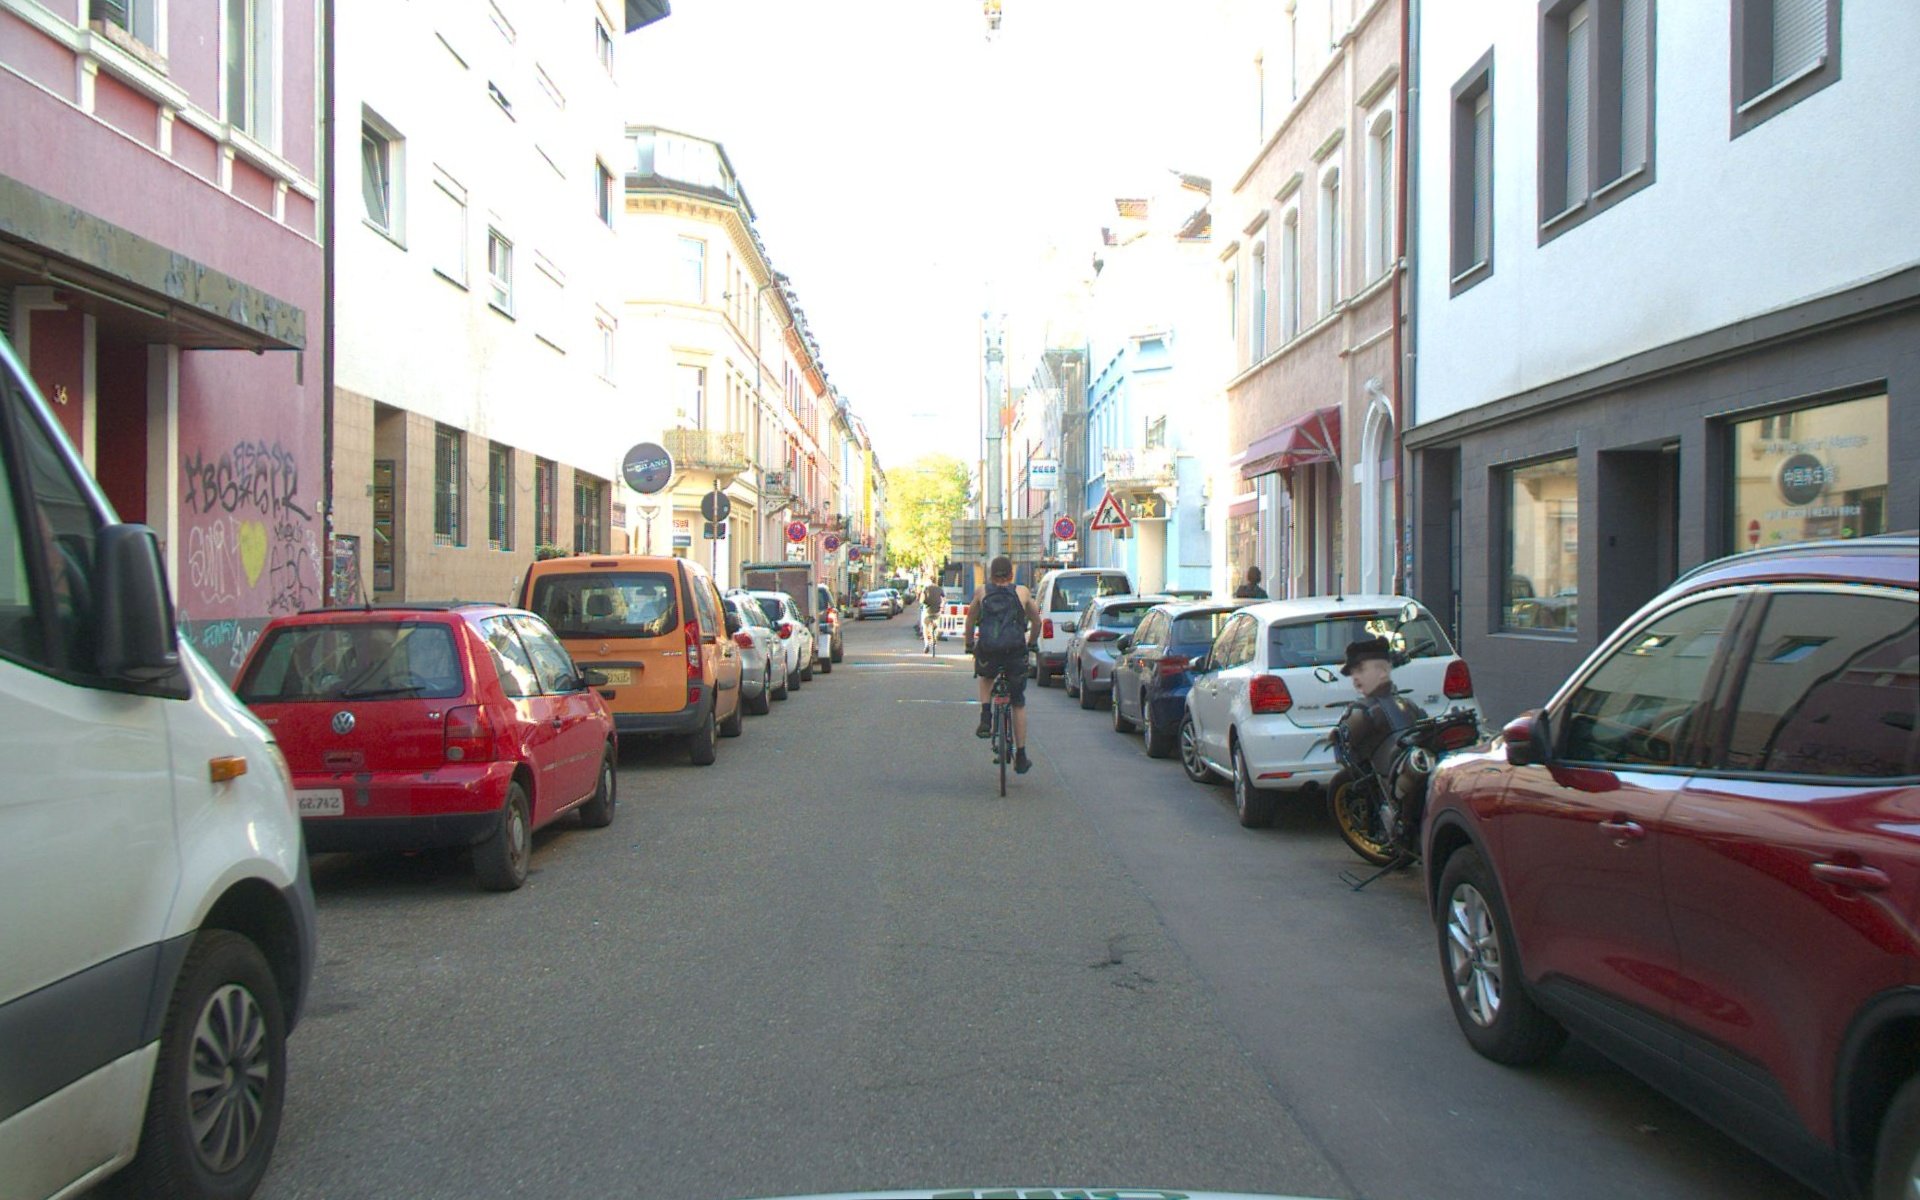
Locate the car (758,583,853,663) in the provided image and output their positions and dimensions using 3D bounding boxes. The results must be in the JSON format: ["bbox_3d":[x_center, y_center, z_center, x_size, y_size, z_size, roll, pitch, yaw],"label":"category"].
[{"bbox_3d":[-3.237,0.469,35.221,1.715,1.600,3.795,-1,0,-1],"label":"car"}]

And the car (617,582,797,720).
[{"bbox_3d":[-3.127,0.594,21.180,1.715,1.564,4.318,-1,0,-1],"label":"car"}]

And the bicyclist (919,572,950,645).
[{"bbox_3d":[-0.564,0.187,36.859,0.657,1.595,0.716,1,0,-2],"label":"bicyclist"}]

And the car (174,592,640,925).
[{"bbox_3d":[-2.984,0.762,9.688,1.546,1.509,3.564,-3,0,-2],"label":"car"}]

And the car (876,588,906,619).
[{"bbox_3d":[-4.227,0.199,101.864,1.715,1.853,3.795,-1,0,-1],"label":"car"}]

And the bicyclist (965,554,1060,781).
[{"bbox_3d":[0.403,0.515,13.066,0.654,1.706,1.097,1,0,-2],"label":"bicyclist"}]

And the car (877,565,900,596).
[{"bbox_3d":[-5.614,-1.498,130.676,1.715,2.358,3.795,-1,0,-1],"label":"car"}]

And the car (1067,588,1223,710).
[{"bbox_3d":[2.453,0.627,22.770,1.714,1.513,3.799,-1,0,0],"label":"car"}]

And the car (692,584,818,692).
[{"bbox_3d":[-3.178,0.565,26.210,1.620,1.564,3.633,-1,0,-1],"label":"car"}]

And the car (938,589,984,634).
[{"bbox_3d":[0.006,0.411,61.325,1.578,1.587,3.609,1,0,-1],"label":"car"}]

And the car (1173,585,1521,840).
[{"bbox_3d":[2.692,0.712,12.368,1.633,1.531,3.816,-3,0,0],"label":"car"}]

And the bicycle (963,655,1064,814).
[{"bbox_3d":[0.392,1.017,13.093,0.663,1.093,1.941,1,0,-2],"label":"bicycle"}]

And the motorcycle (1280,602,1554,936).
[{"bbox_3d":[2.324,0.777,8.776,0.732,1.516,2.421,1,0,-1],"label":"motorcycle"}]

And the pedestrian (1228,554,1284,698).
[{"bbox_3d":[4.306,0.374,24.103,0.631,2.049,0.763,1,-1,-2],"label":"pedestrian"}]

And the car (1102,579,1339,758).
[{"bbox_3d":[2.517,0.620,16.870,1.613,1.500,3.969,-4,0,-1],"label":"car"}]

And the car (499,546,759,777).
[{"bbox_3d":[-2.973,0.510,15.690,1.717,1.848,4.076,-2,0,-2],"label":"car"}]

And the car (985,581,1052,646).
[{"bbox_3d":[1.569,0.362,45.128,1.578,1.662,3.609,1,0,-1],"label":"car"}]

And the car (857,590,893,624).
[{"bbox_3d":[-4.306,0.354,84.316,1.715,1.713,3.795,-1,0,-1],"label":"car"}]

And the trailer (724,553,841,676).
[{"bbox_3d":[-3.251,0.263,30.907,1.844,2.129,3.736,-1,0,-1],"label":"trailer"}]

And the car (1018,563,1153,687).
[{"bbox_3d":[2.030,0.393,27.824,1.715,1.911,3.970,-1,0,-4],"label":"car"}]

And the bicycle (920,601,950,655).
[{"bbox_3d":[-0.569,0.616,36.858,0.635,1.149,2.135,1,0,-1],"label":"bicycle"}]

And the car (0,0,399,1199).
[{"bbox_3d":[-2.790,-0.123,1.199,2.296,3.349,7.153,-2,0,-1],"label":"car"}]

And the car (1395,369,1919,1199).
[{"bbox_3d":[2.652,0.435,4.133,1.879,1.735,4.365,0,0,-2],"label":"car"}]
